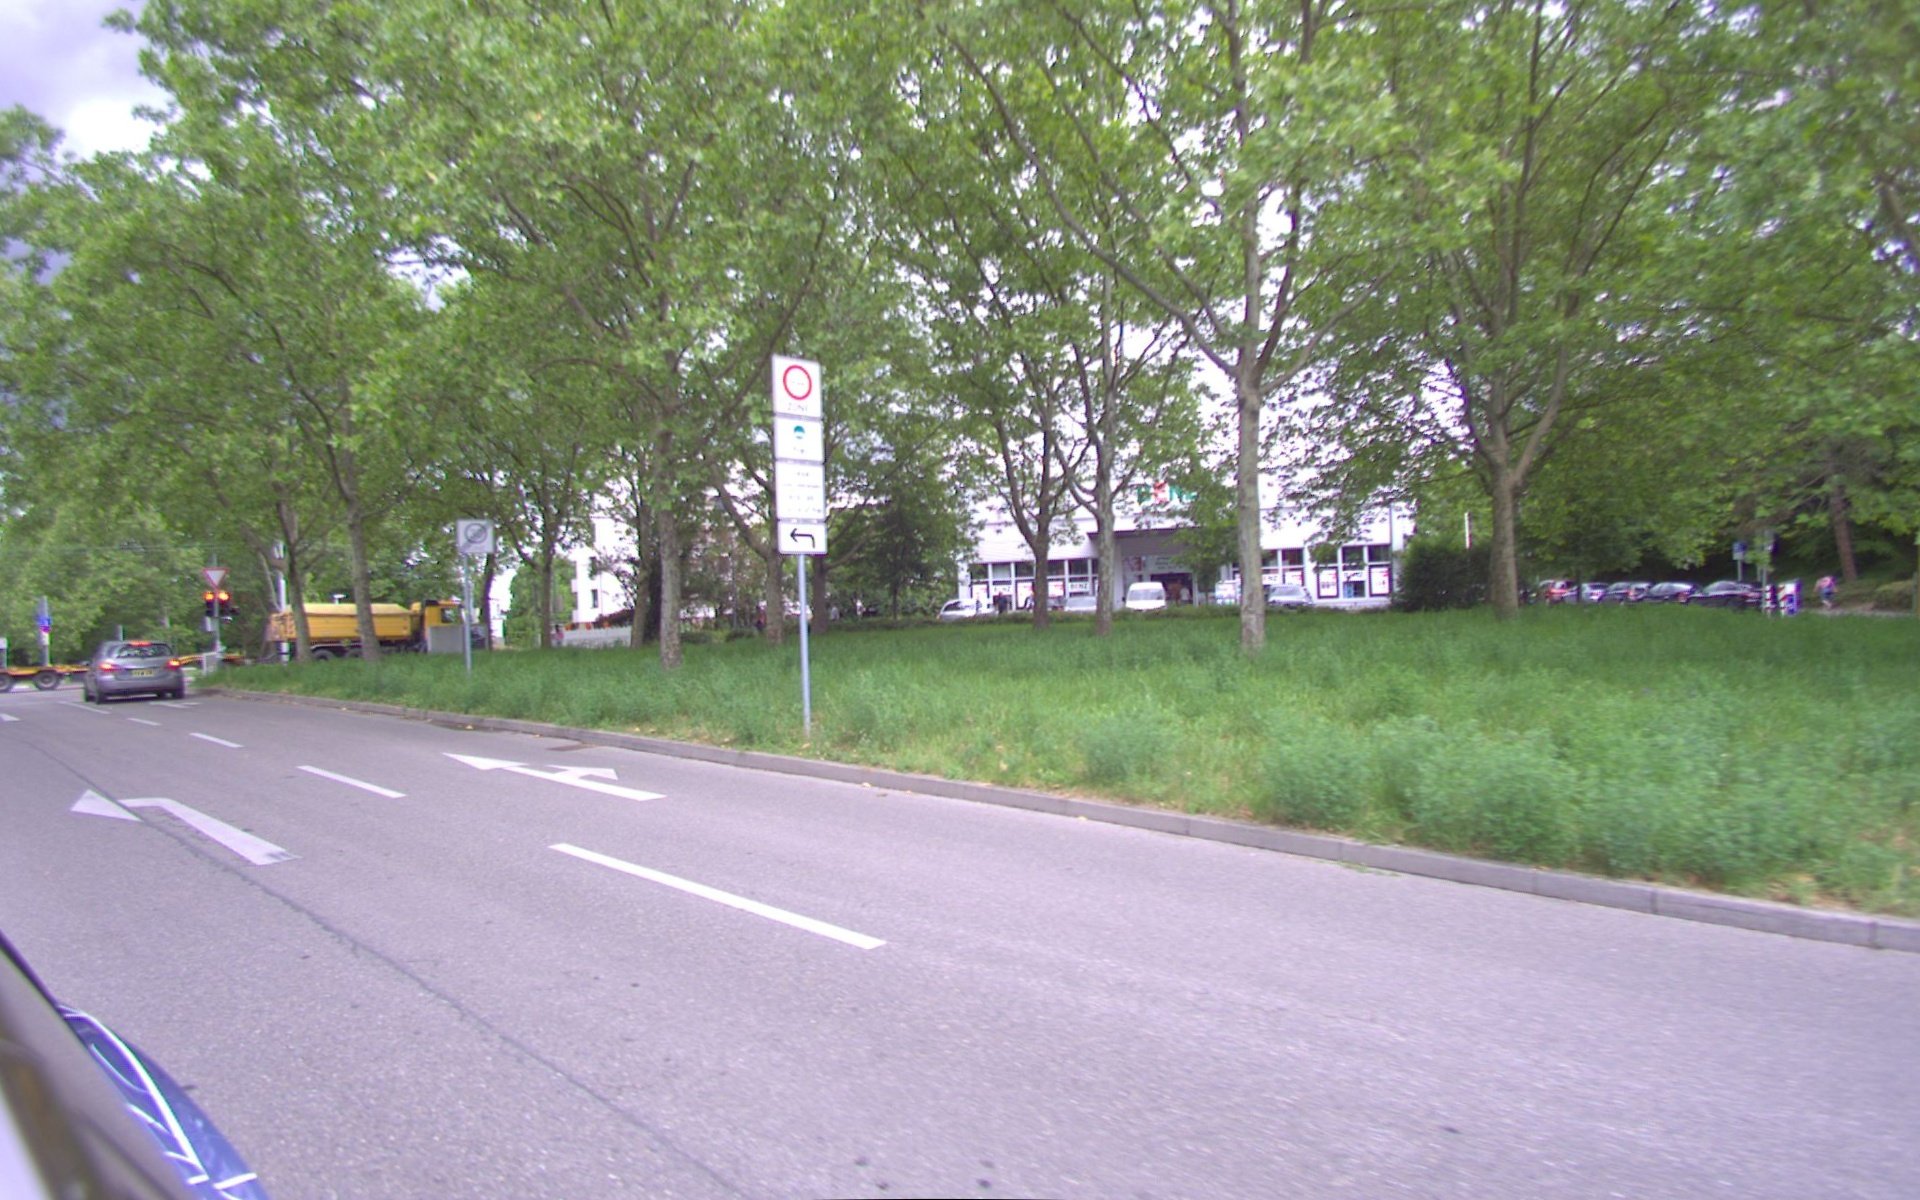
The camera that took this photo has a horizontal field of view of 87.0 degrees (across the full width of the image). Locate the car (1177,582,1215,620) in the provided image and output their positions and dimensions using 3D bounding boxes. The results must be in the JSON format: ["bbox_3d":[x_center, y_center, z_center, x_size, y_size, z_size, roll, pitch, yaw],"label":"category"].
[{"bbox_3d":[10.129,0.072,43.472,1.470,1.476,3.875,-3,-2,13],"label":"car"}]

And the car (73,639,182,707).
[{"bbox_3d":[-22.028,1.901,26.702,4.413,1.598,1.747,-4,-3,44],"label":"car"}]

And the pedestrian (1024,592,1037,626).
[{"bbox_3d":[3.774,0.492,54.374,0.612,1.758,0.739,-2,-2,3],"label":"pedestrian"}]

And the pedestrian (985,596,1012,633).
[{"bbox_3d":[1.711,0.637,45.109,0.787,1.598,0.797,0,-3,-44],"label":"pedestrian"}]

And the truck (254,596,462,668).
[{"bbox_3d":[-27.072,1.390,45.816,7.664,3.026,2.731,0,-3,-45],"label":"truck"}]

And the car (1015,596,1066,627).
[{"bbox_3d":[4.366,0.629,54.362,1.720,1.512,4.243,-3,-2,18],"label":"car"}]

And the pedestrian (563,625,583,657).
[{"bbox_3d":[-18.895,2.009,49.451,0.689,1.500,0.721,0,-3,-42],"label":"pedestrian"}]

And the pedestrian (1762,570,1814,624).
[{"bbox_3d":[31.087,-0.117,38.008,1.070,1.965,0.985,-1,0,2],"label":"pedestrian"}]

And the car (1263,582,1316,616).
[{"bbox_3d":[13.225,-0.051,40.742,1.678,1.264,3.235,-1,0,13],"label":"car"}]

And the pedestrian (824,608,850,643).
[{"bbox_3d":[-5.682,1.170,46.632,0.795,1.598,0.840,-4,-3,38],"label":"pedestrian"}]

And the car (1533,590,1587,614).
[{"bbox_3d":[34.876,0.086,58.914,1.583,1.331,3.303,-1,0,9],"label":"car"}]

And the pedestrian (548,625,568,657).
[{"bbox_3d":[-19.289,1.977,48.573,0.689,1.500,0.689,0,-3,-43],"label":"pedestrian"}]

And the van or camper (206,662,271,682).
[{"bbox_3d":[-70.214,7.000,98.550,1.865,1.545,4.934,-5,-2,44],"label":"van or camper"}]

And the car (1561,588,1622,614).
[{"bbox_3d":[34.234,0.066,54.932,1.583,1.331,3.303,-1,0,9],"label":"car"}]

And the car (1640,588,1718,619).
[{"bbox_3d":[32.894,0.134,46.391,1.583,1.331,3.303,-1,0,9],"label":"car"}]

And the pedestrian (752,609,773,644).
[{"bbox_3d":[-9.035,1.229,46.344,0.763,1.550,0.654,-2,-2,4],"label":"pedestrian"}]

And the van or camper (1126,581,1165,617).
[{"bbox_3d":[7.794,0.001,42.404,1.502,1.367,3.761,-2,-2,11],"label":"van or camper"}]

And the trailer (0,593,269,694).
[{"bbox_3d":[-33.578,1.628,39.329,10.753,3.548,2.717,-1,-2,-45],"label":"trailer"}]

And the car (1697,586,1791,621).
[{"bbox_3d":[31.979,0.124,41.385,1.583,1.331,3.303,-1,0,9],"label":"car"}]

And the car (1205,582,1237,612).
[{"bbox_3d":[13.649,-0.150,53.010,1.470,1.415,3.394,-3,-2,13],"label":"car"}]

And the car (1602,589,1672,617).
[{"bbox_3d":[33.598,0.143,50.330,1.583,1.331,3.303,-1,0,9],"label":"car"}]
